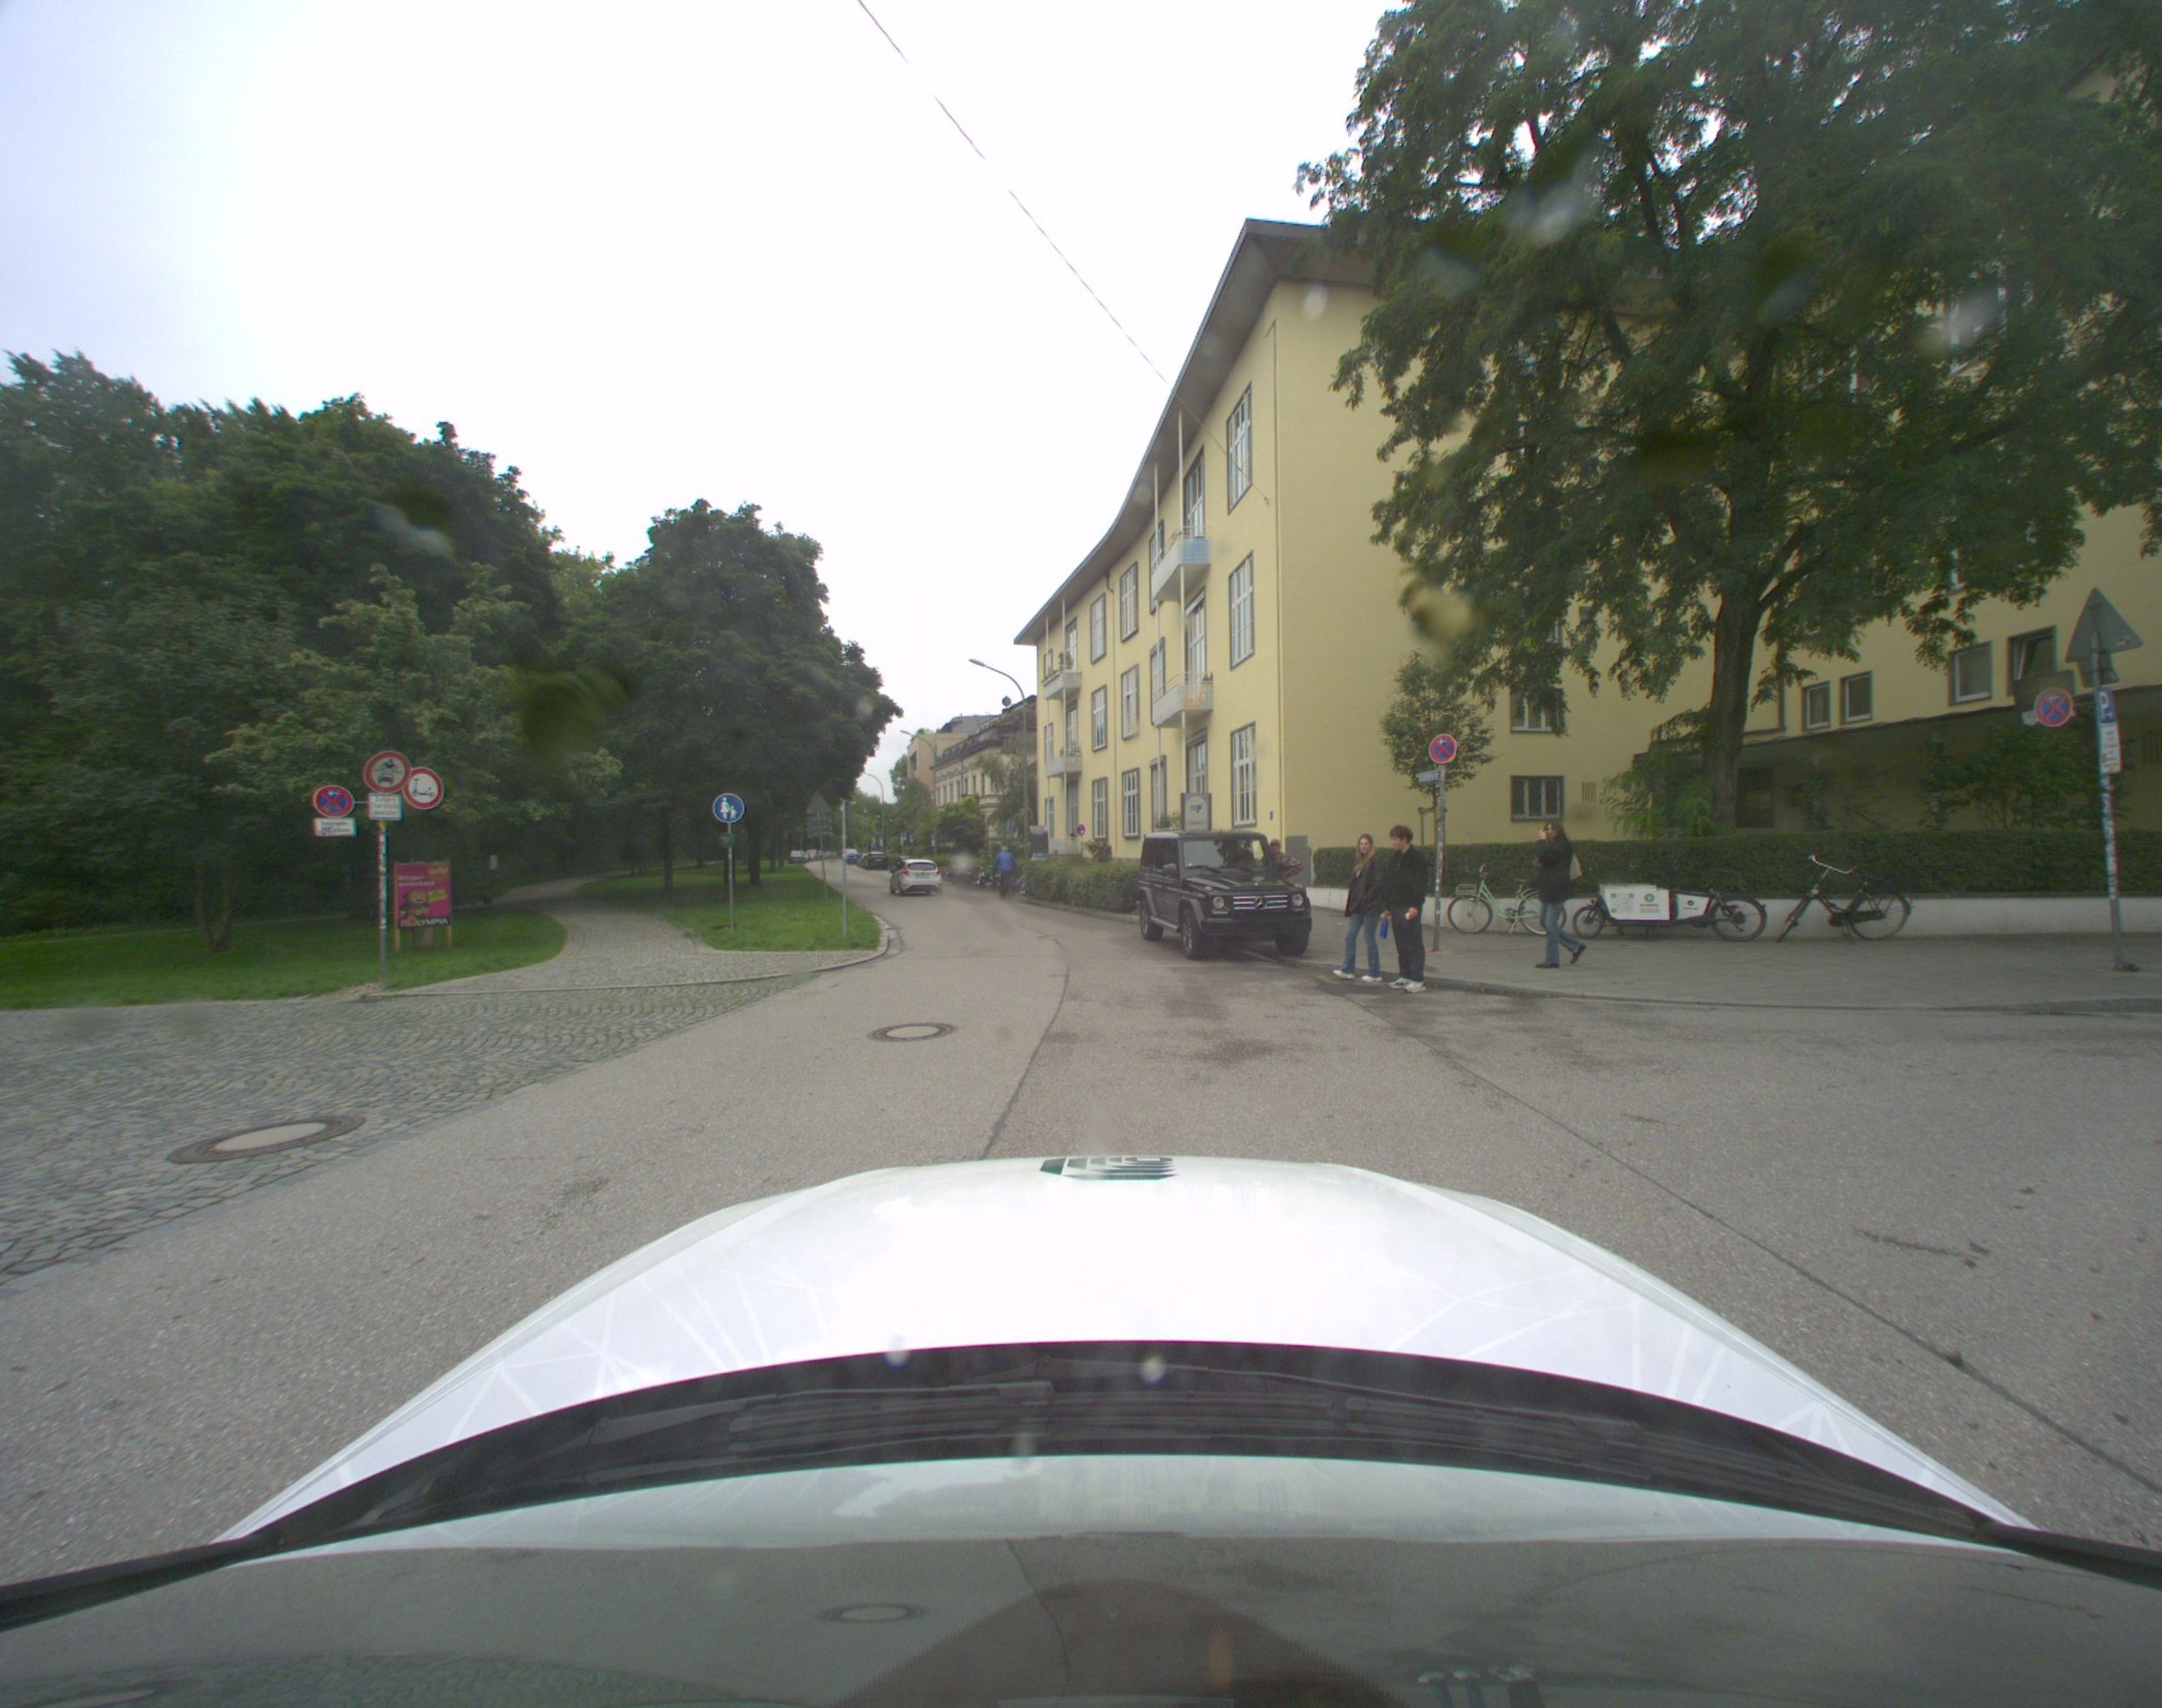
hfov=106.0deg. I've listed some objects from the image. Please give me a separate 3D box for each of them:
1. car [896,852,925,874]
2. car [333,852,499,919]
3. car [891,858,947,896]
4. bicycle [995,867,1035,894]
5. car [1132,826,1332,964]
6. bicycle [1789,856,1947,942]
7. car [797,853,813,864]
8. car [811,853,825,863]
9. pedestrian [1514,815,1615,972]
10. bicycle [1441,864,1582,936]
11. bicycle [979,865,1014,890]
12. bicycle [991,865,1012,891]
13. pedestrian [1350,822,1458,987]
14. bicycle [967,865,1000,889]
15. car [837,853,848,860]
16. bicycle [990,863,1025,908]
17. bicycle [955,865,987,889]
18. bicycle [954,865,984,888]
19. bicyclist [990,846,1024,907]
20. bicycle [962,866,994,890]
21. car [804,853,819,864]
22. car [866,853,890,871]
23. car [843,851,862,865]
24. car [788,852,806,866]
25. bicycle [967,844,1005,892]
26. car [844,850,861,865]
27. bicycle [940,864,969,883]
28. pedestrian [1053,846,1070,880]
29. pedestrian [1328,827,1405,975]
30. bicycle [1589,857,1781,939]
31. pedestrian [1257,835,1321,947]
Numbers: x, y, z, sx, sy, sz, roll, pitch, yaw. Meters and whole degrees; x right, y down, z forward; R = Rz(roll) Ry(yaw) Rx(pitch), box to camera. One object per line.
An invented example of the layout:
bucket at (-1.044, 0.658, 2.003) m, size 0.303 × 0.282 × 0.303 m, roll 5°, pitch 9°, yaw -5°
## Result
car at (-12.396, 0.636, 58.991) m, size 1.651 × 1.558 × 3.538 m, roll -1°, pitch 0°, yaw -18°
car at (-22.619, 1.013, 27.840) m, size 1.764 × 2.013 × 4.026 m, roll -2°, pitch 0°, yaw 36°
car at (-6.674, 0.885, 33.283) m, size 1.753 × 1.406 × 3.703 m, roll -1°, pitch 0°, yaw -19°
bicycle at (-2.658, 1.061, 32.736) m, size 1.539 × 1.014 × 0.364 m, roll -2°, pitch 0°, yaw -22°
car at (2.297, 0.554, 13.767) m, size 1.873 × 1.887 × 4.604 m, roll -1°, pitch 0°, yaw -9°
bicycle at (10.873, 0.612, 11.279) m, size 1.675 × 1.130 × 0.460 m, roll -1°, pitch 0°, yaw 3°
car at (-39.429, 0.626, 116.343) m, size 2.000 × 1.600 × 4.438 m, roll -1°, pitch 0°, yaw -20°
car at (-46.706, 0.702, 144.704) m, size 1.997 × 1.600 × 4.444 m, roll -1°, pitch 0°, yaw -15°
pedestrian at (5.950, 0.477, 10.072) m, size 0.843 × 1.857 × 0.770 m, roll -2°, pitch -1°, yaw 17°
bicycle at (6.987, 0.749, 13.294) m, size 0.532 × 1.085 × 1.926 m, roll -1°, pitch -2°, yaw -43°
bicycle at (-3.694, 1.028, 35.637) m, size 1.546 × 1.014 × 0.363 m, roll -3°, pitch 0°, yaw -41°
bicycle at (-3.350, 1.004, 34.539) m, size 0.363 × 1.014 × 1.543 m, roll -2°, pitch 0°, yaw 13°
pedestrian at (3.671, 0.562, 9.319) m, size 0.984 × 1.809 × 0.661 m, roll -1°, pitch 0°, yaw 8°
bicycle at (-4.370, 1.019, 36.536) m, size 0.404 × 1.014 × 1.547 m, roll -2°, pitch 1°, yaw 45°
car at (-54.969, 0.589, 187.941) m, size 1.994 × 1.600 × 4.450 m, roll -1°, pitch 0°, yaw -11°
bicycle at (-2.250, 0.930, 24.693) m, size 0.920 × 1.252 × 2.314 m, roll -1°, pitch 0°, yaw -9°
bicycle at (-5.030, 1.055, 37.325) m, size 0.404 × 1.014 × 1.547 m, roll -2°, pitch 1°, yaw 41°
bicycle at (-5.368, 1.055, 39.127) m, size 0.404 × 1.014 × 1.547 m, roll -2°, pitch 1°, yaw 41°
bicyclist at (-2.263, 0.664, 24.742) m, size 0.913 × 1.764 × 1.212 m, roll -1°, pitch 0°, yaw -9°
bicycle at (-4.660, 1.071, 36.990) m, size 0.404 × 1.014 × 1.547 m, roll -2°, pitch 1°, yaw 41°
car at (-43.045, 0.720, 130.325) m, size 1.997 × 1.600 × 4.444 m, roll -1°, pitch 0°, yaw -15°
car at (-19.299, 0.749, 77.277) m, size 1.799 × 1.680 × 3.972 m, roll -1°, pitch 0°, yaw -21°
car at (-28.736, 0.476, 102.274) m, size 2.001 × 1.600 × 4.225 m, roll -1°, pitch 0°, yaw -21°
car at (-35.068, 0.624, 100.497) m, size 2.000 × 1.600 × 4.438 m, roll -1°, pitch 0°, yaw -20°
bicycle at (-4.209, 0.608, 35.991) m, size 0.451 × 2.013 × 1.687 m, roll -2°, pitch 0°, yaw 45°
car at (-31.285, 0.436, 111.362) m, size 2.071 × 1.966 × 4.949 m, roll -1°, pitch 0°, yaw -17°
bicycle at (-7.000, 1.072, 45.151) m, size 1.544 × 1.014 × 0.405 m, roll -3°, pitch 0°, yaw -36°
pedestrian at (-1.009, 0.462, 41.356) m, size 0.633 × 1.684 × 0.694 m, roll -2°, pitch 0°, yaw -18°
pedestrian at (3.505, 0.560, 10.061) m, size 0.820 × 1.746 × 0.743 m, roll -1°, pitch 0°, yaw 15°
bicycle at (8.753, 0.632, 11.915) m, size 2.149 × 1.115 × 0.644 m, roll -1°, pitch 0°, yaw 21°
pedestrian at (3.407, 0.579, 13.397) m, size 0.844 × 1.757 × 0.955 m, roll -2°, pitch 0°, yaw 6°
